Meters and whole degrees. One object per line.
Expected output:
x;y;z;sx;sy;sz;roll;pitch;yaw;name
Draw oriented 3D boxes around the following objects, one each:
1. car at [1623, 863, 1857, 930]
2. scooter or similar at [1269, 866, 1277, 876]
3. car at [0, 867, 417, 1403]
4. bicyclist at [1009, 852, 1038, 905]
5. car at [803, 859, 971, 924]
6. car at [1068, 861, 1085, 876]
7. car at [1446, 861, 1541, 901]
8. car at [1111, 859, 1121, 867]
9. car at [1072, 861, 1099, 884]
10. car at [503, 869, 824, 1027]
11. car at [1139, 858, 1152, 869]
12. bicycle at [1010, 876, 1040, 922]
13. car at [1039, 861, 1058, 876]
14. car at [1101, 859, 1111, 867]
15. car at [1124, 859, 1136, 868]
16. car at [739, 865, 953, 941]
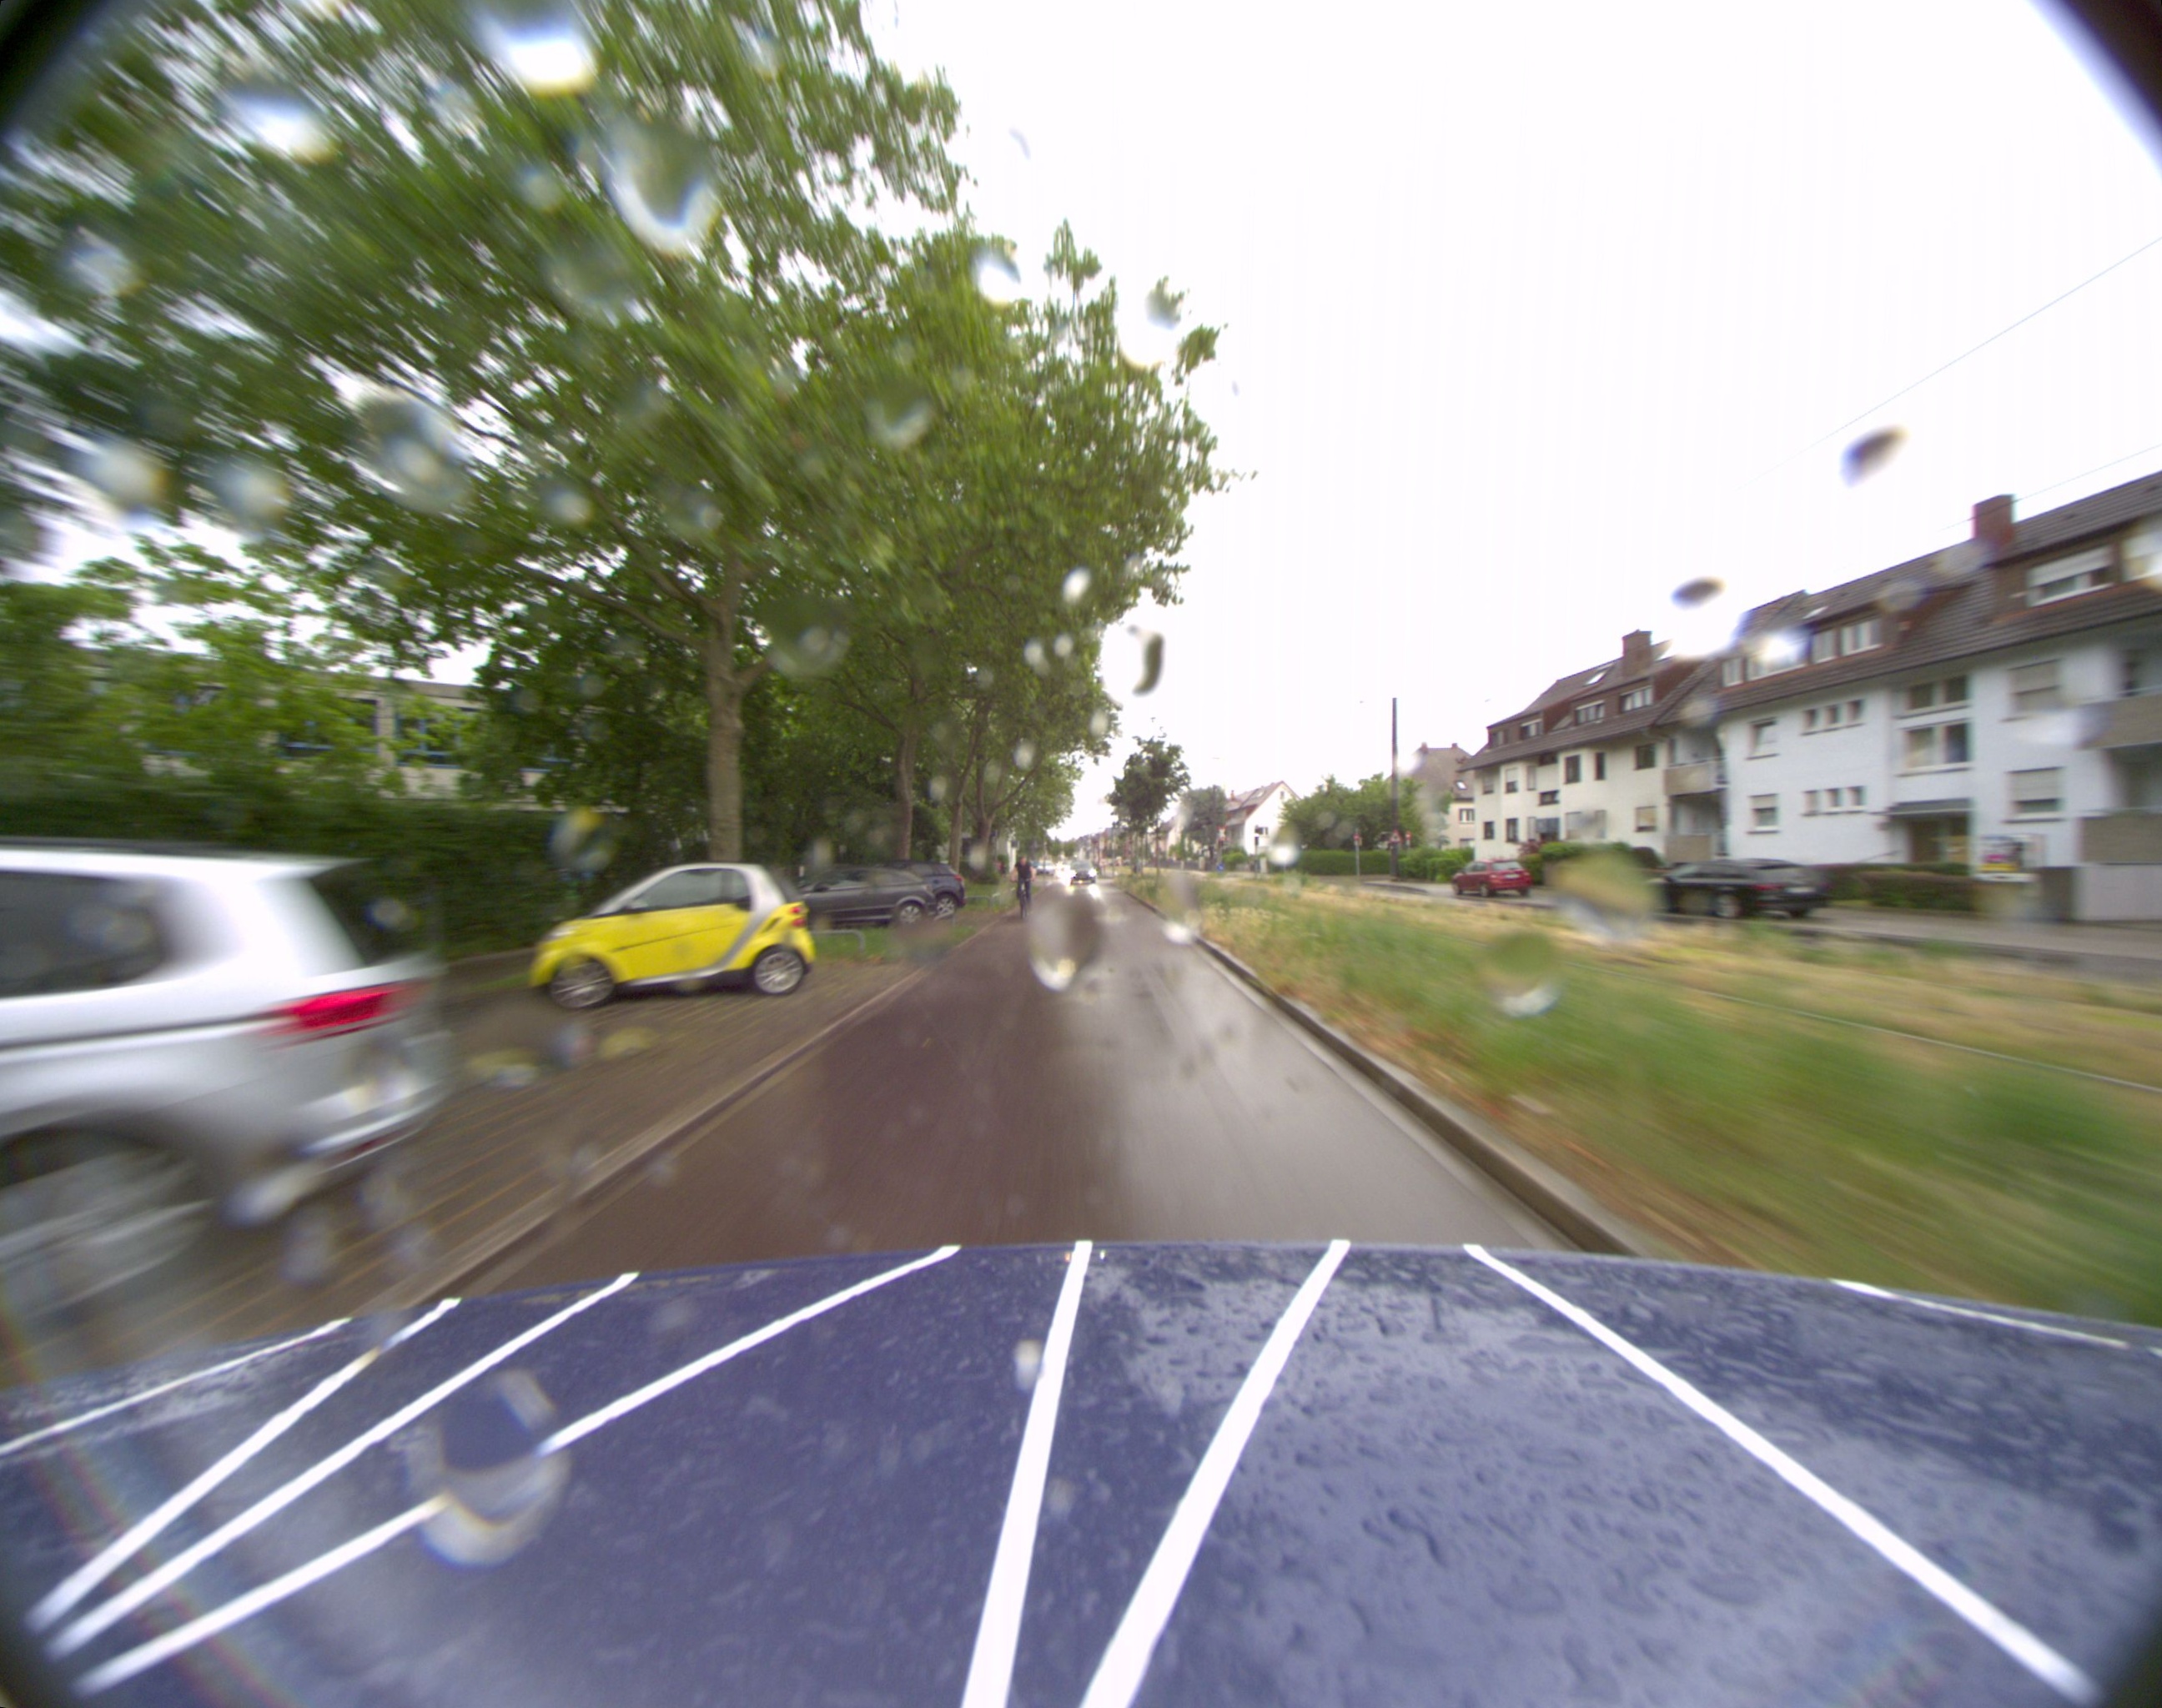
16.604;0.989;19.580;1.998;1.402;4.763;-2;0;3;car
17.959;1.570;71.115;0.347;0.905;1.258;0;0;-5;scooter or similar
-4.789;0.901;2.297;4.055;1.631;1.650;-1;0;-37;car
-1.591;0.666;21.108;0.675;1.421;0.754;-4;0;0;bicyclist
-4.982;0.927;19.618;3.812;1.523;1.878;1;-1;-32;car
-0.485;1.537;82.349;1.780;1.477;4.000;2;0;0;car
16.649;1.052;30.885;1.802;1.448;4.001;-2;0;3;car
8.888;2.306;192.468;2.000;2.002;3.998;0;0;-7;car
0.287;1.249;53.264;1.780;1.477;4.000;2;0;0;car
-4.584;0.937;8.623;2.909;1.457;1.600;1;0;-28;car
12.714;1.879;150.155;1.999;2.002;3.998;0;0;-6;car
-1.553;1.228;21.297;0.675;1.136;2.445;-2;0;-1;bicycle
-3.370;1.455;78.627;1.780;1.477;4.000;2;0;0;car
6.416;2.383;192.945;2.000;2.002;3.997;0;0;-7;car
11.125;2.050;171.507;2.000;2.002;3.998;0;0;-7;car
-5.019;0.985;16.469;4.071;1.410;1.737;1;0;-36;car
